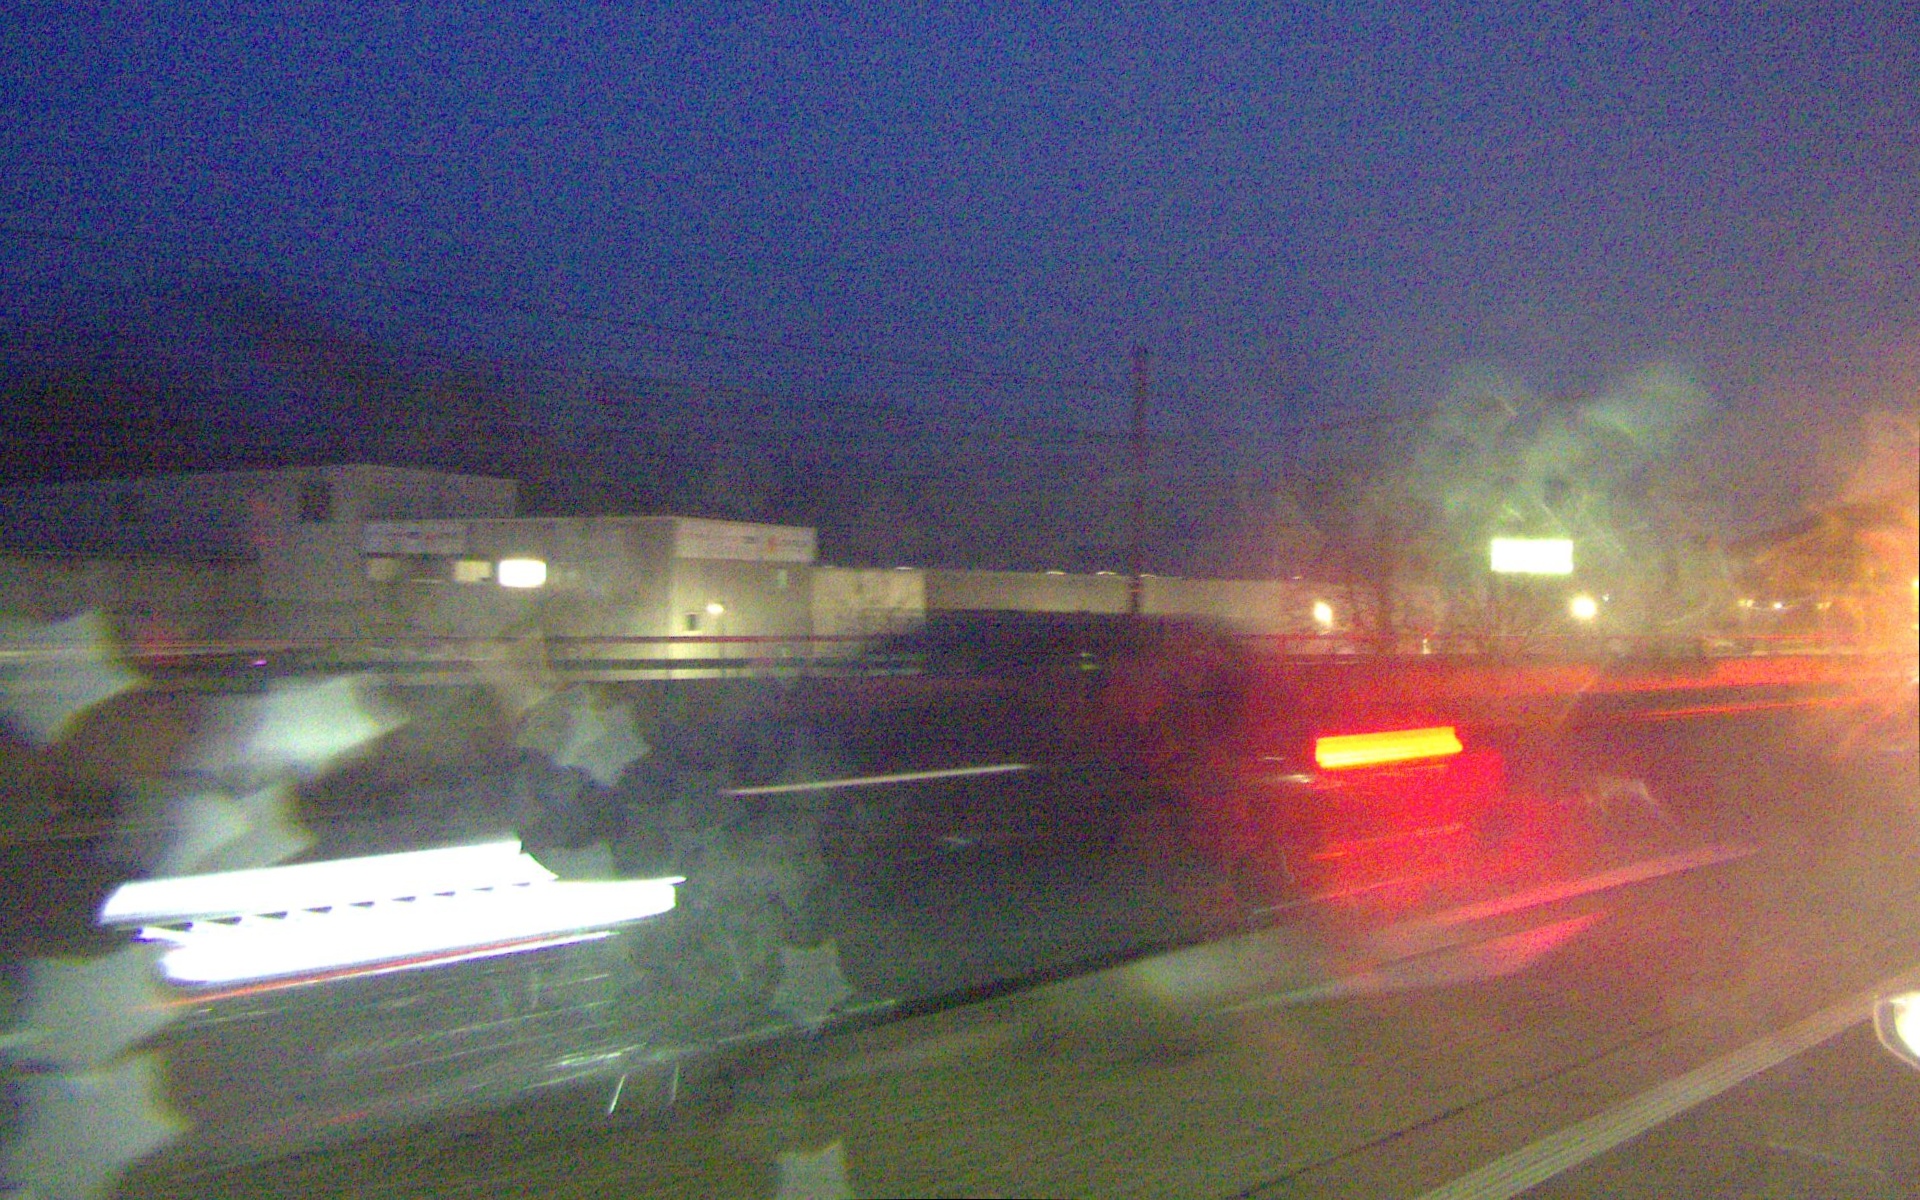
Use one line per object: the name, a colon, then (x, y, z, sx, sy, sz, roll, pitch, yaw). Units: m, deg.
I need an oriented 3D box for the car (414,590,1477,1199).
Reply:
car: (0.152, 0.726, 4.245, 4.245, 1.454, 1.685, 1, 1, -32)
